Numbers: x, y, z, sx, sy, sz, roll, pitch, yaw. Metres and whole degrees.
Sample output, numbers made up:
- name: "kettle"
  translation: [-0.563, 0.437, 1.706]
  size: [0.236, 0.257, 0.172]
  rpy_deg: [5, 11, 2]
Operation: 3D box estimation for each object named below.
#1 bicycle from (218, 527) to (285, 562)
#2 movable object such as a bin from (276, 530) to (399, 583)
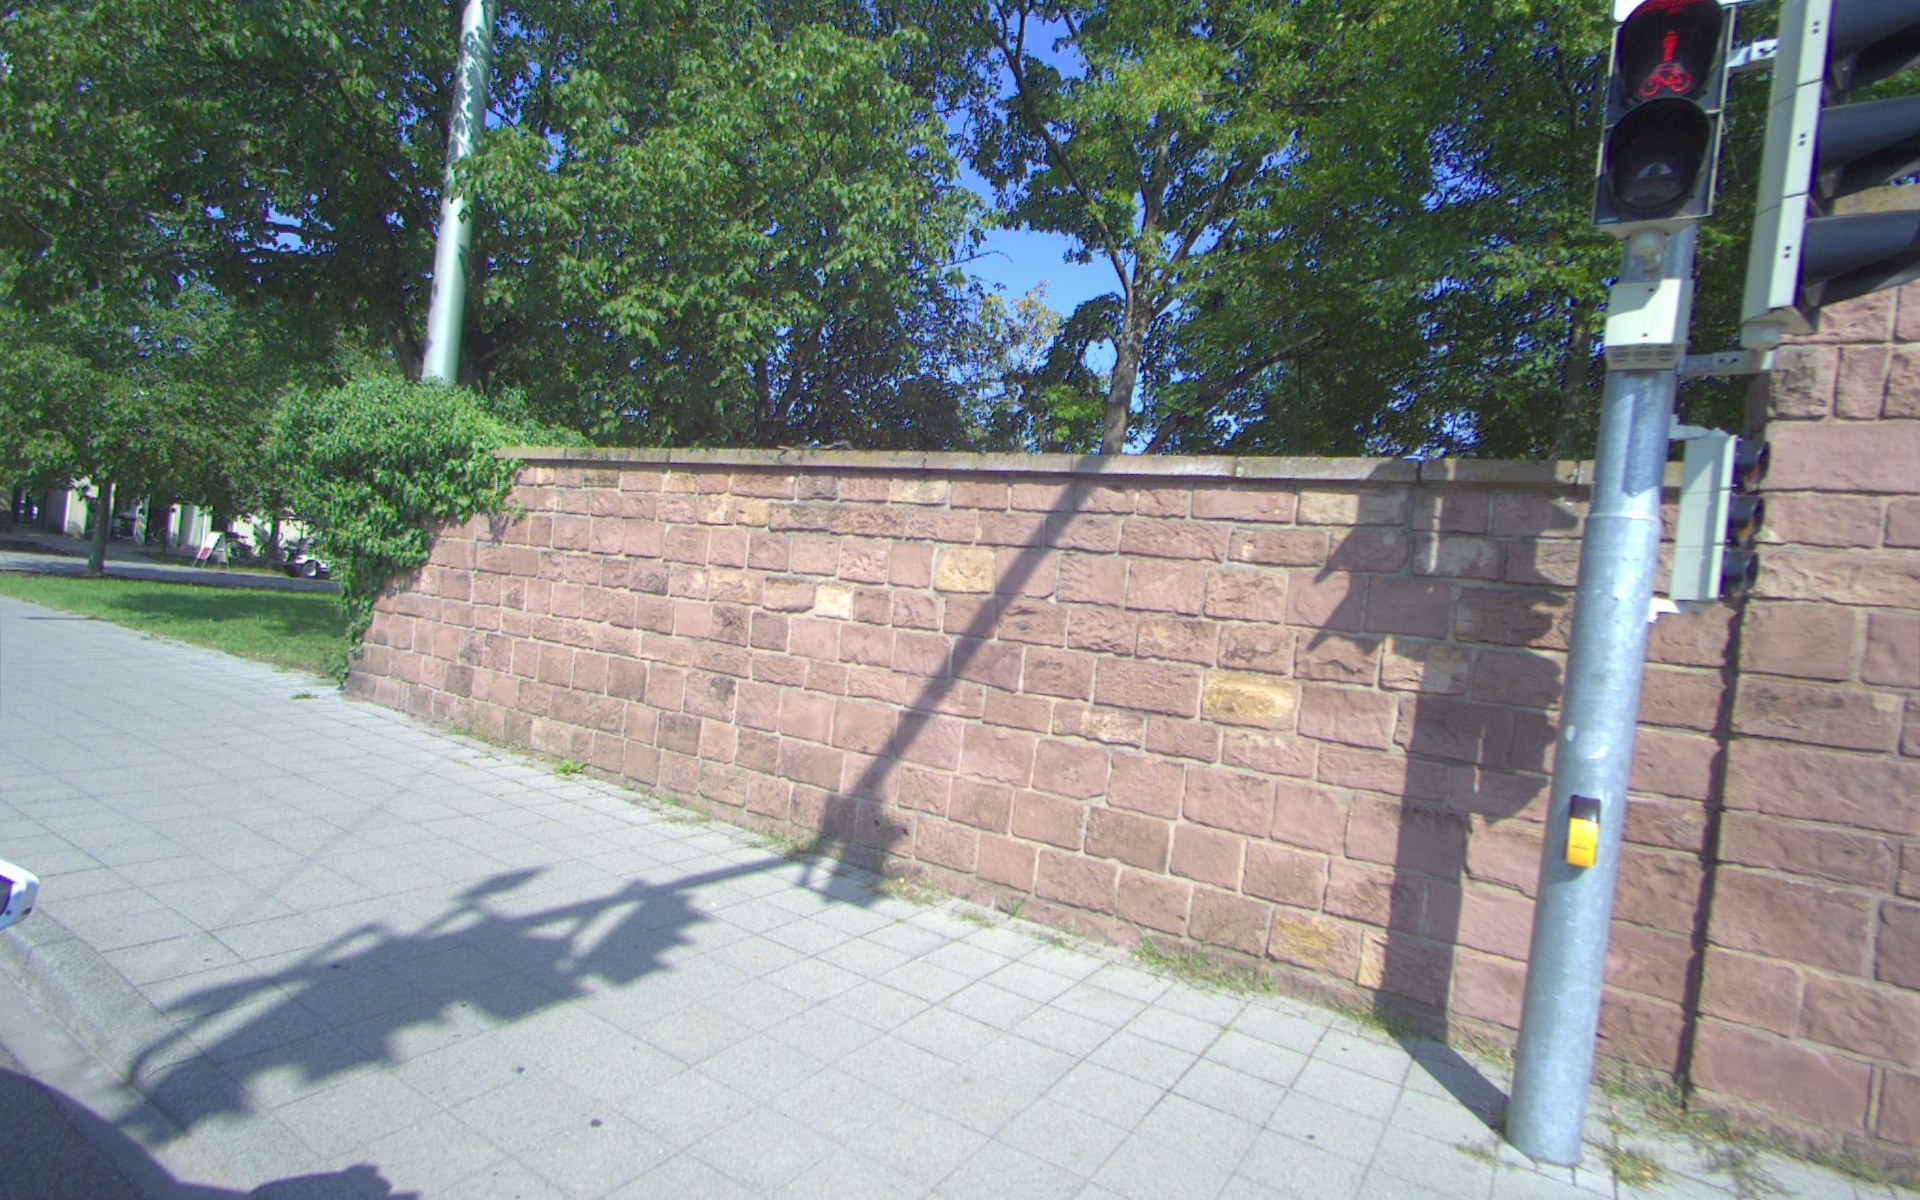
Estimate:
- name: "bicycle"
  translation: [-25.658, -1.992, 36.455]
  size: [0.420, 0.991, 1.907]
  rpy_deg: [7, -1, 32]
- name: "movable object such as a bin"
  translation: [-20.296, -1.408, 32.898]
  size: [1.280, 1.314, 3.106]
  rpy_deg: [7, 0, 35]
